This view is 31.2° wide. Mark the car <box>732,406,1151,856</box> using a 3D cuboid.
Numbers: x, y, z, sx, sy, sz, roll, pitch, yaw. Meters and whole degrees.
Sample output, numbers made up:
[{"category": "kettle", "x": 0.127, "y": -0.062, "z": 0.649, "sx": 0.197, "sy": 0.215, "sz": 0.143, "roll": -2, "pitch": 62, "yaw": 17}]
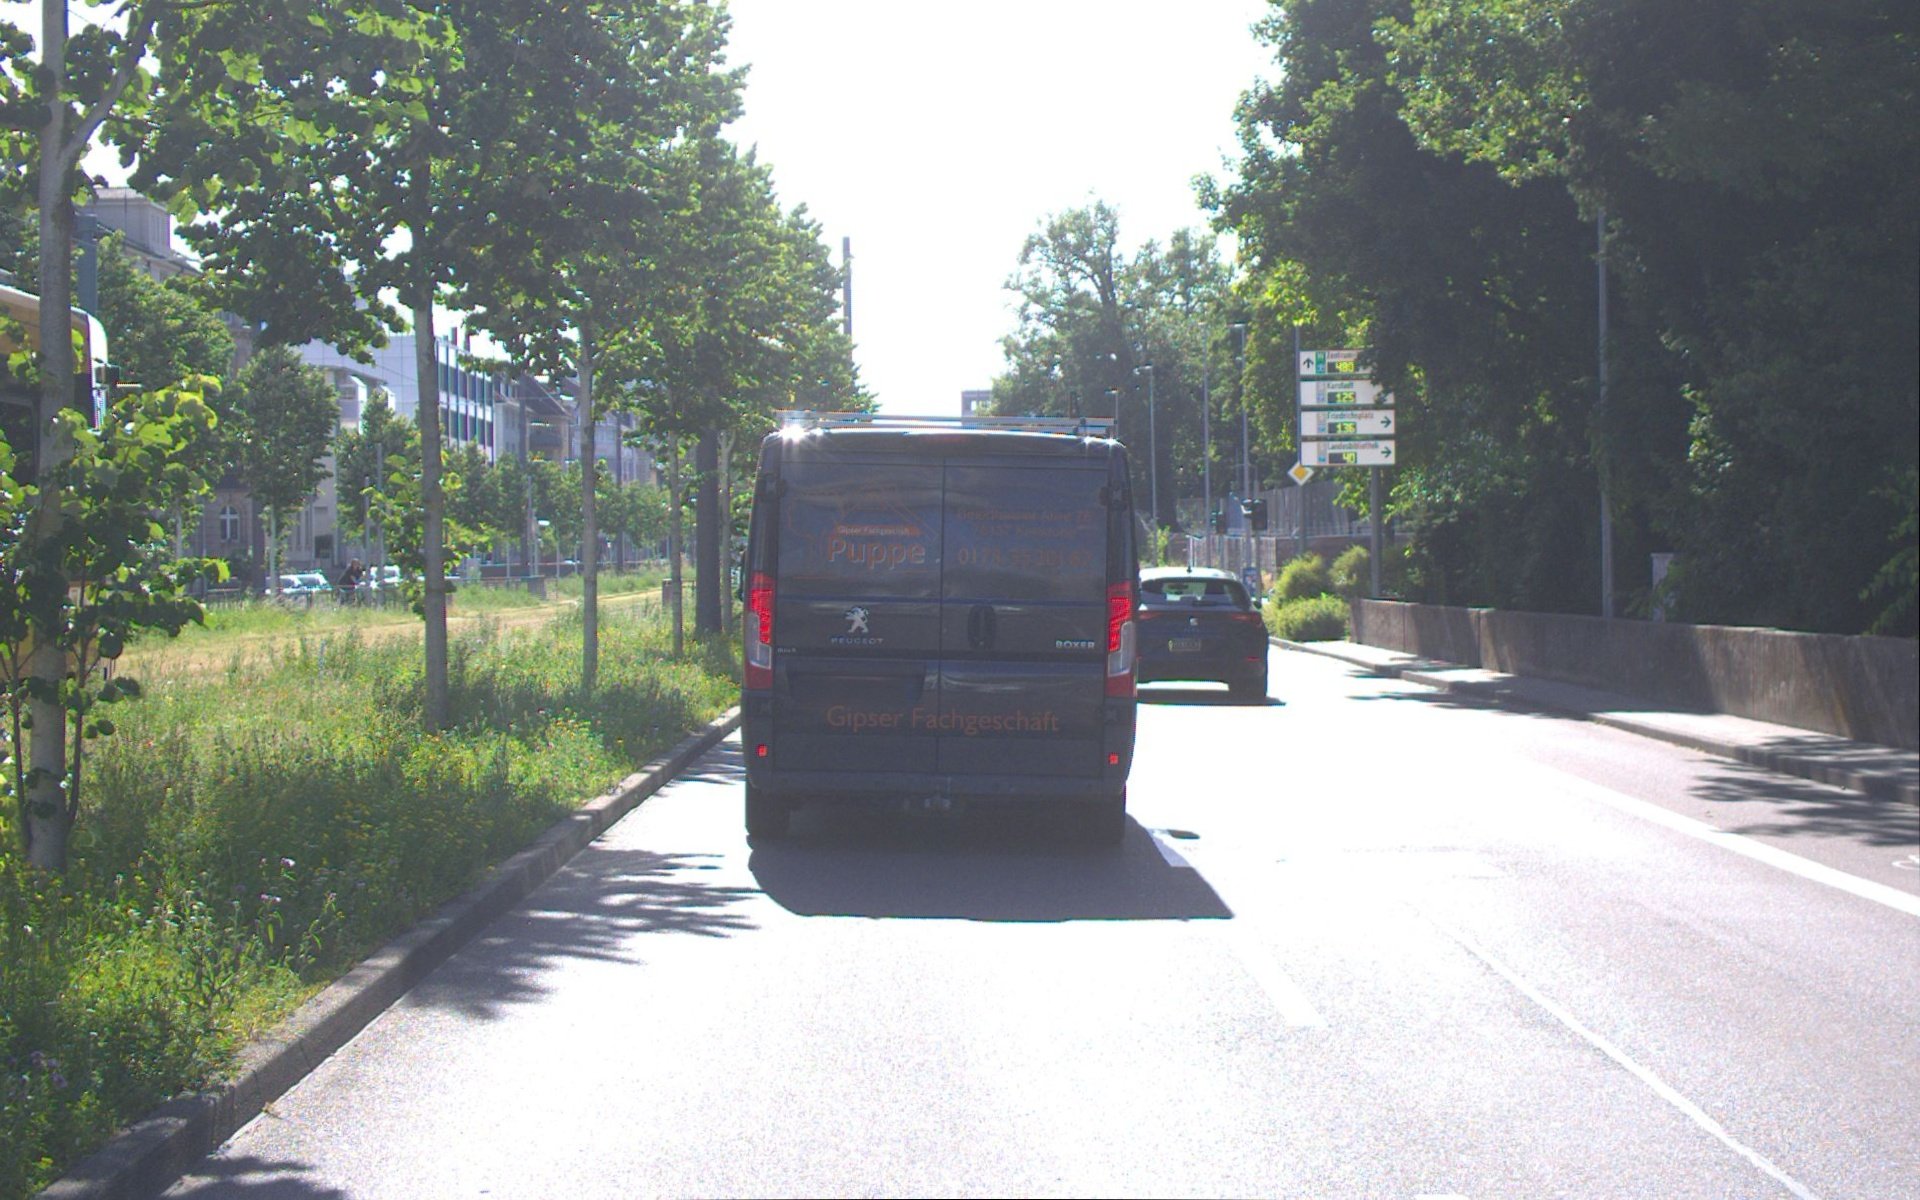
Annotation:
[{"category": "car", "x": -0.128, "y": 0.133, "z": 19.238, "sx": 2.082, "sy": 2.241, "sz": 4.000, "roll": 0, "pitch": 1, "yaw": -1}]

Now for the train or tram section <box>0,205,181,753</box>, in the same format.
[{"category": "train or tram section", "x": -7.409, "y": -0.806, "z": 22.397, "sx": 1.993, "sy": 3.657, "sz": 11.684, "roll": 0, "pitch": 1, "yaw": 0}]

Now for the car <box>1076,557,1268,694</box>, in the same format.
[{"category": "car", "x": 2.352, "y": 0.252, "z": 39.050, "sx": 1.763, "sy": 1.457, "sz": 4.000, "roll": 0, "pitch": 1, "yaw": -2}]
